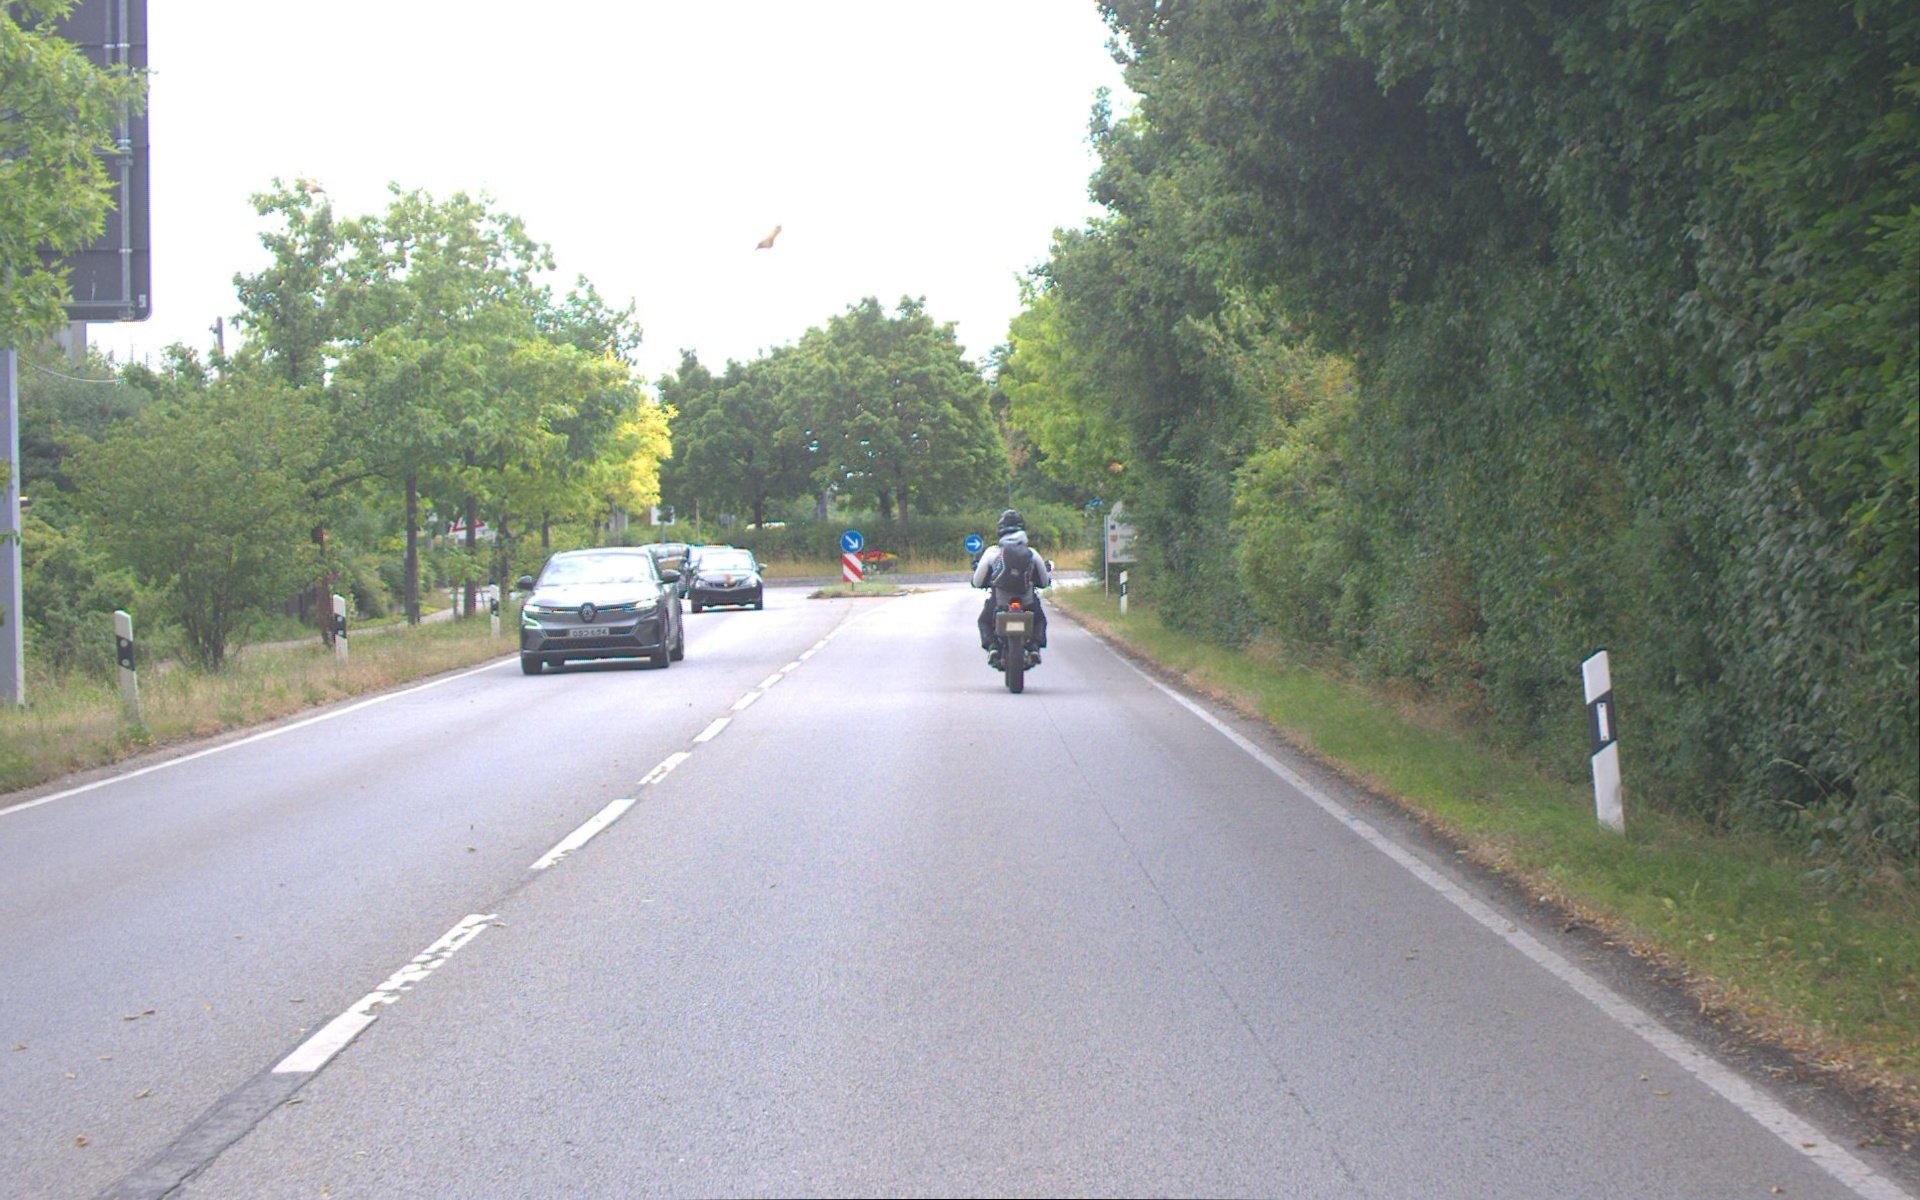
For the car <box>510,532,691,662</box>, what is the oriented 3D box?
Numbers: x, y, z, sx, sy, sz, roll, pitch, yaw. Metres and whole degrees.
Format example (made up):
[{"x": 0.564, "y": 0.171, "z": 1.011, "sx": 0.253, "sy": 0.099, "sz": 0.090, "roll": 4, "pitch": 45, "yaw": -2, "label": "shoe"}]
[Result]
[{"x": -4.456, "y": -0.071, "z": 43.163, "sx": 1.815, "sy": 1.489, "sz": 4.204, "roll": -2, "pitch": 1, "yaw": -1, "label": "car"}]

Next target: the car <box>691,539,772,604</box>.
[{"x": -5.335, "y": -0.698, "z": 80.782, "sx": 1.676, "sy": 1.406, "sz": 4.013, "roll": -3, "pitch": 1, "yaw": -1, "label": "car"}]

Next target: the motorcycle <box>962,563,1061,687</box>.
[{"x": 0.496, "y": 0.225, "z": 34.257, "sx": 0.896, "sy": 1.154, "sz": 2.620, "roll": -1, "pitch": 1, "yaw": -1, "label": "motorcycle"}]

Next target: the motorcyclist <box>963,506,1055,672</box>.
[{"x": 0.481, "y": -0.116, "z": 34.268, "sx": 0.861, "sy": 1.618, "sz": 1.191, "roll": -1, "pitch": 1, "yaw": -1, "label": "motorcyclist"}]
